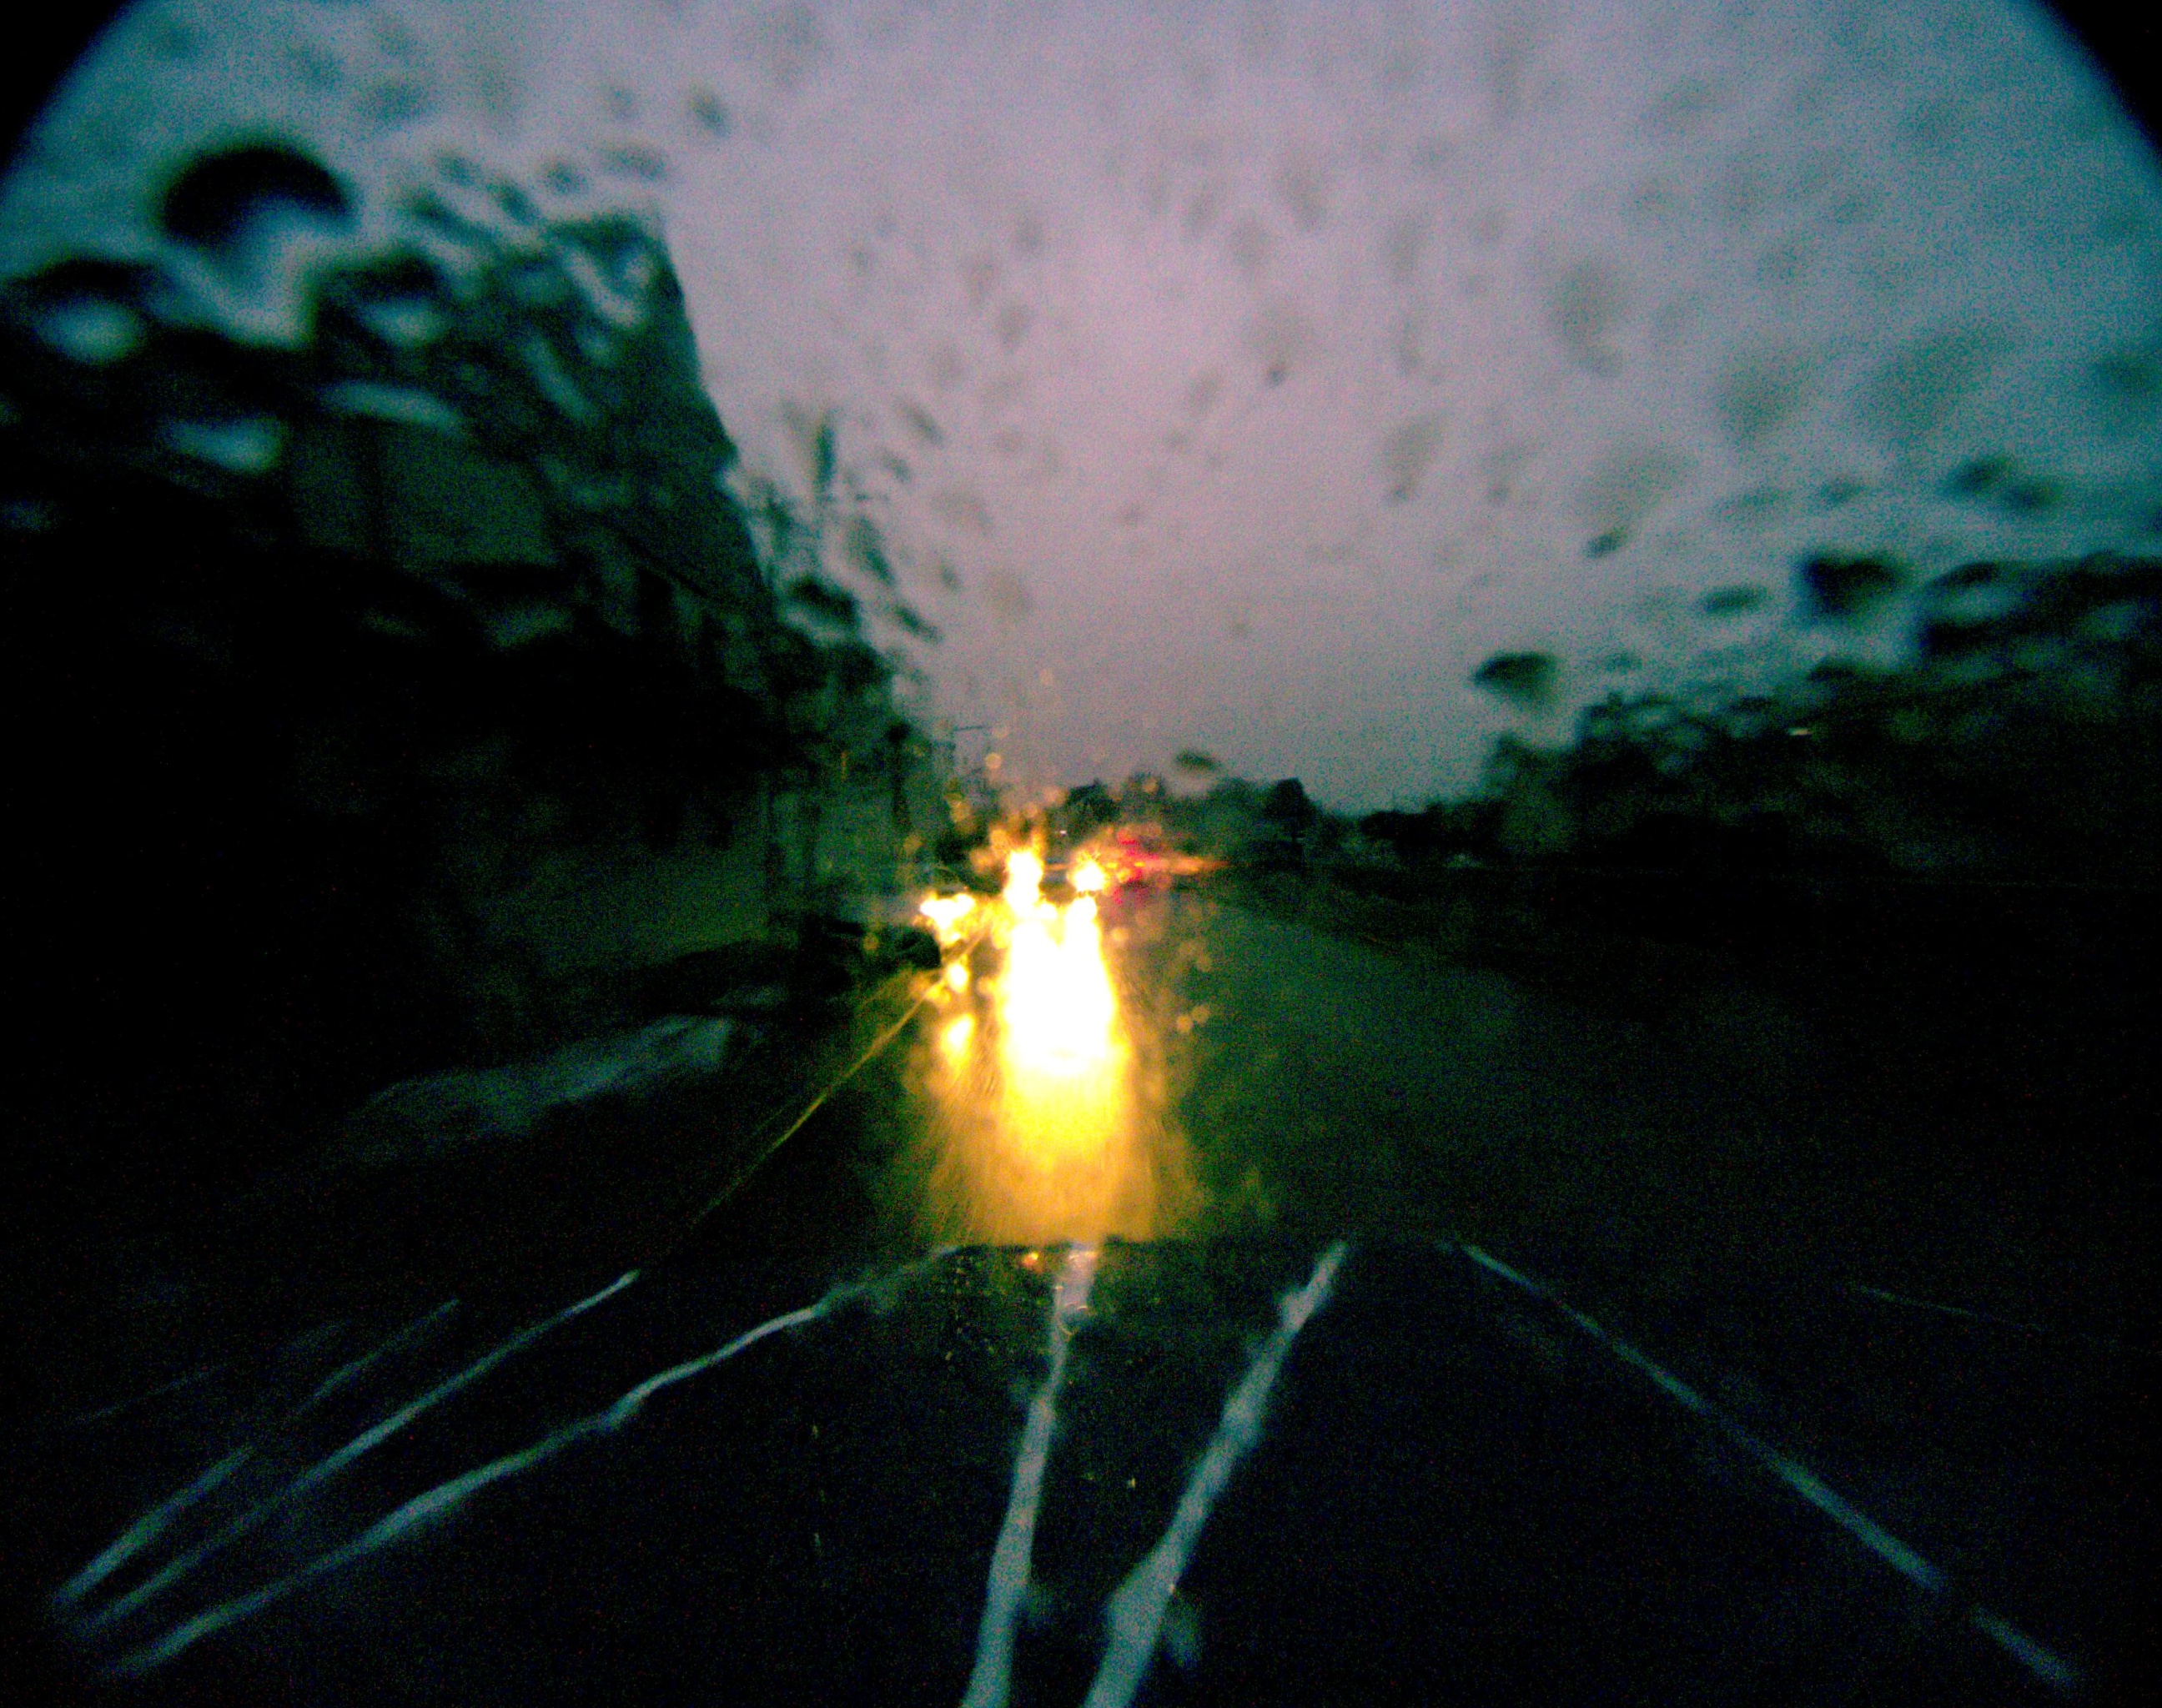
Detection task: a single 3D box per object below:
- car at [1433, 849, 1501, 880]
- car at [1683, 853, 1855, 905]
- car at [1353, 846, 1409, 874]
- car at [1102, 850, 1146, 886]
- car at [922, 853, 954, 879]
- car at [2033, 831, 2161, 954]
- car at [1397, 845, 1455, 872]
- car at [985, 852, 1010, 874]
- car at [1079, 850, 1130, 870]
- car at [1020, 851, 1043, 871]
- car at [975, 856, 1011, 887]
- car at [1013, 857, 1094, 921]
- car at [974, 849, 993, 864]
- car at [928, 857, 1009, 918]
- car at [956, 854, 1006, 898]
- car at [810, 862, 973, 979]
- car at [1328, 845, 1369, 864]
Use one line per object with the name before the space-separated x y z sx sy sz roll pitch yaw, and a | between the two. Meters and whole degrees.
car | 22.203 0.558 43.874 1.821 1.615 3.985 -3 0 1
car | 22.066 0.741 24.635 1.881 1.496 4.143 -1 0 1
car | 22.152 0.403 56.342 1.999 1.893 4.355 -3 0 -5
car | 1.966 0.619 35.758 1.736 1.527 3.780 -3 0 -1
car | -9.087 0.723 48.011 1.814 1.543 4.299 0 0 -13
car | 16.664 0.558 10.615 1.804 1.793 3.859 0 1 -2
car | 22.008 0.259 48.591 1.901 1.509 3.999 -3 1 1
car | -6.279 0.640 57.731 1.813 1.555 4.302 0 0 -5
car | 2.217 0.543 71.859 4.348 1.611 1.997 -3 1 -15
car | -4.314 0.608 66.184 1.907 1.630 4.565 1 -1 -4
car | -4.388 0.838 37.957 1.708 1.443 4.189 0 0 -6
car | -0.870 0.911 21.167 1.999 1.525 3.999 -2 -1 -5
car | -11.883 0.255 92.627 1.918 1.780 4.561 0 0 -12
car | -3.264 0.910 22.948 1.962 1.523 5.006 -3 0 -4
car | -3.831 0.802 29.786 1.669 1.566 4.494 0 0 -4
car | -2.826 0.916 12.271 1.656 1.446 4.237 2 0 -2
car | 21.679 -0.005 61.759 1.681 1.406 3.831 -3 1 -4
